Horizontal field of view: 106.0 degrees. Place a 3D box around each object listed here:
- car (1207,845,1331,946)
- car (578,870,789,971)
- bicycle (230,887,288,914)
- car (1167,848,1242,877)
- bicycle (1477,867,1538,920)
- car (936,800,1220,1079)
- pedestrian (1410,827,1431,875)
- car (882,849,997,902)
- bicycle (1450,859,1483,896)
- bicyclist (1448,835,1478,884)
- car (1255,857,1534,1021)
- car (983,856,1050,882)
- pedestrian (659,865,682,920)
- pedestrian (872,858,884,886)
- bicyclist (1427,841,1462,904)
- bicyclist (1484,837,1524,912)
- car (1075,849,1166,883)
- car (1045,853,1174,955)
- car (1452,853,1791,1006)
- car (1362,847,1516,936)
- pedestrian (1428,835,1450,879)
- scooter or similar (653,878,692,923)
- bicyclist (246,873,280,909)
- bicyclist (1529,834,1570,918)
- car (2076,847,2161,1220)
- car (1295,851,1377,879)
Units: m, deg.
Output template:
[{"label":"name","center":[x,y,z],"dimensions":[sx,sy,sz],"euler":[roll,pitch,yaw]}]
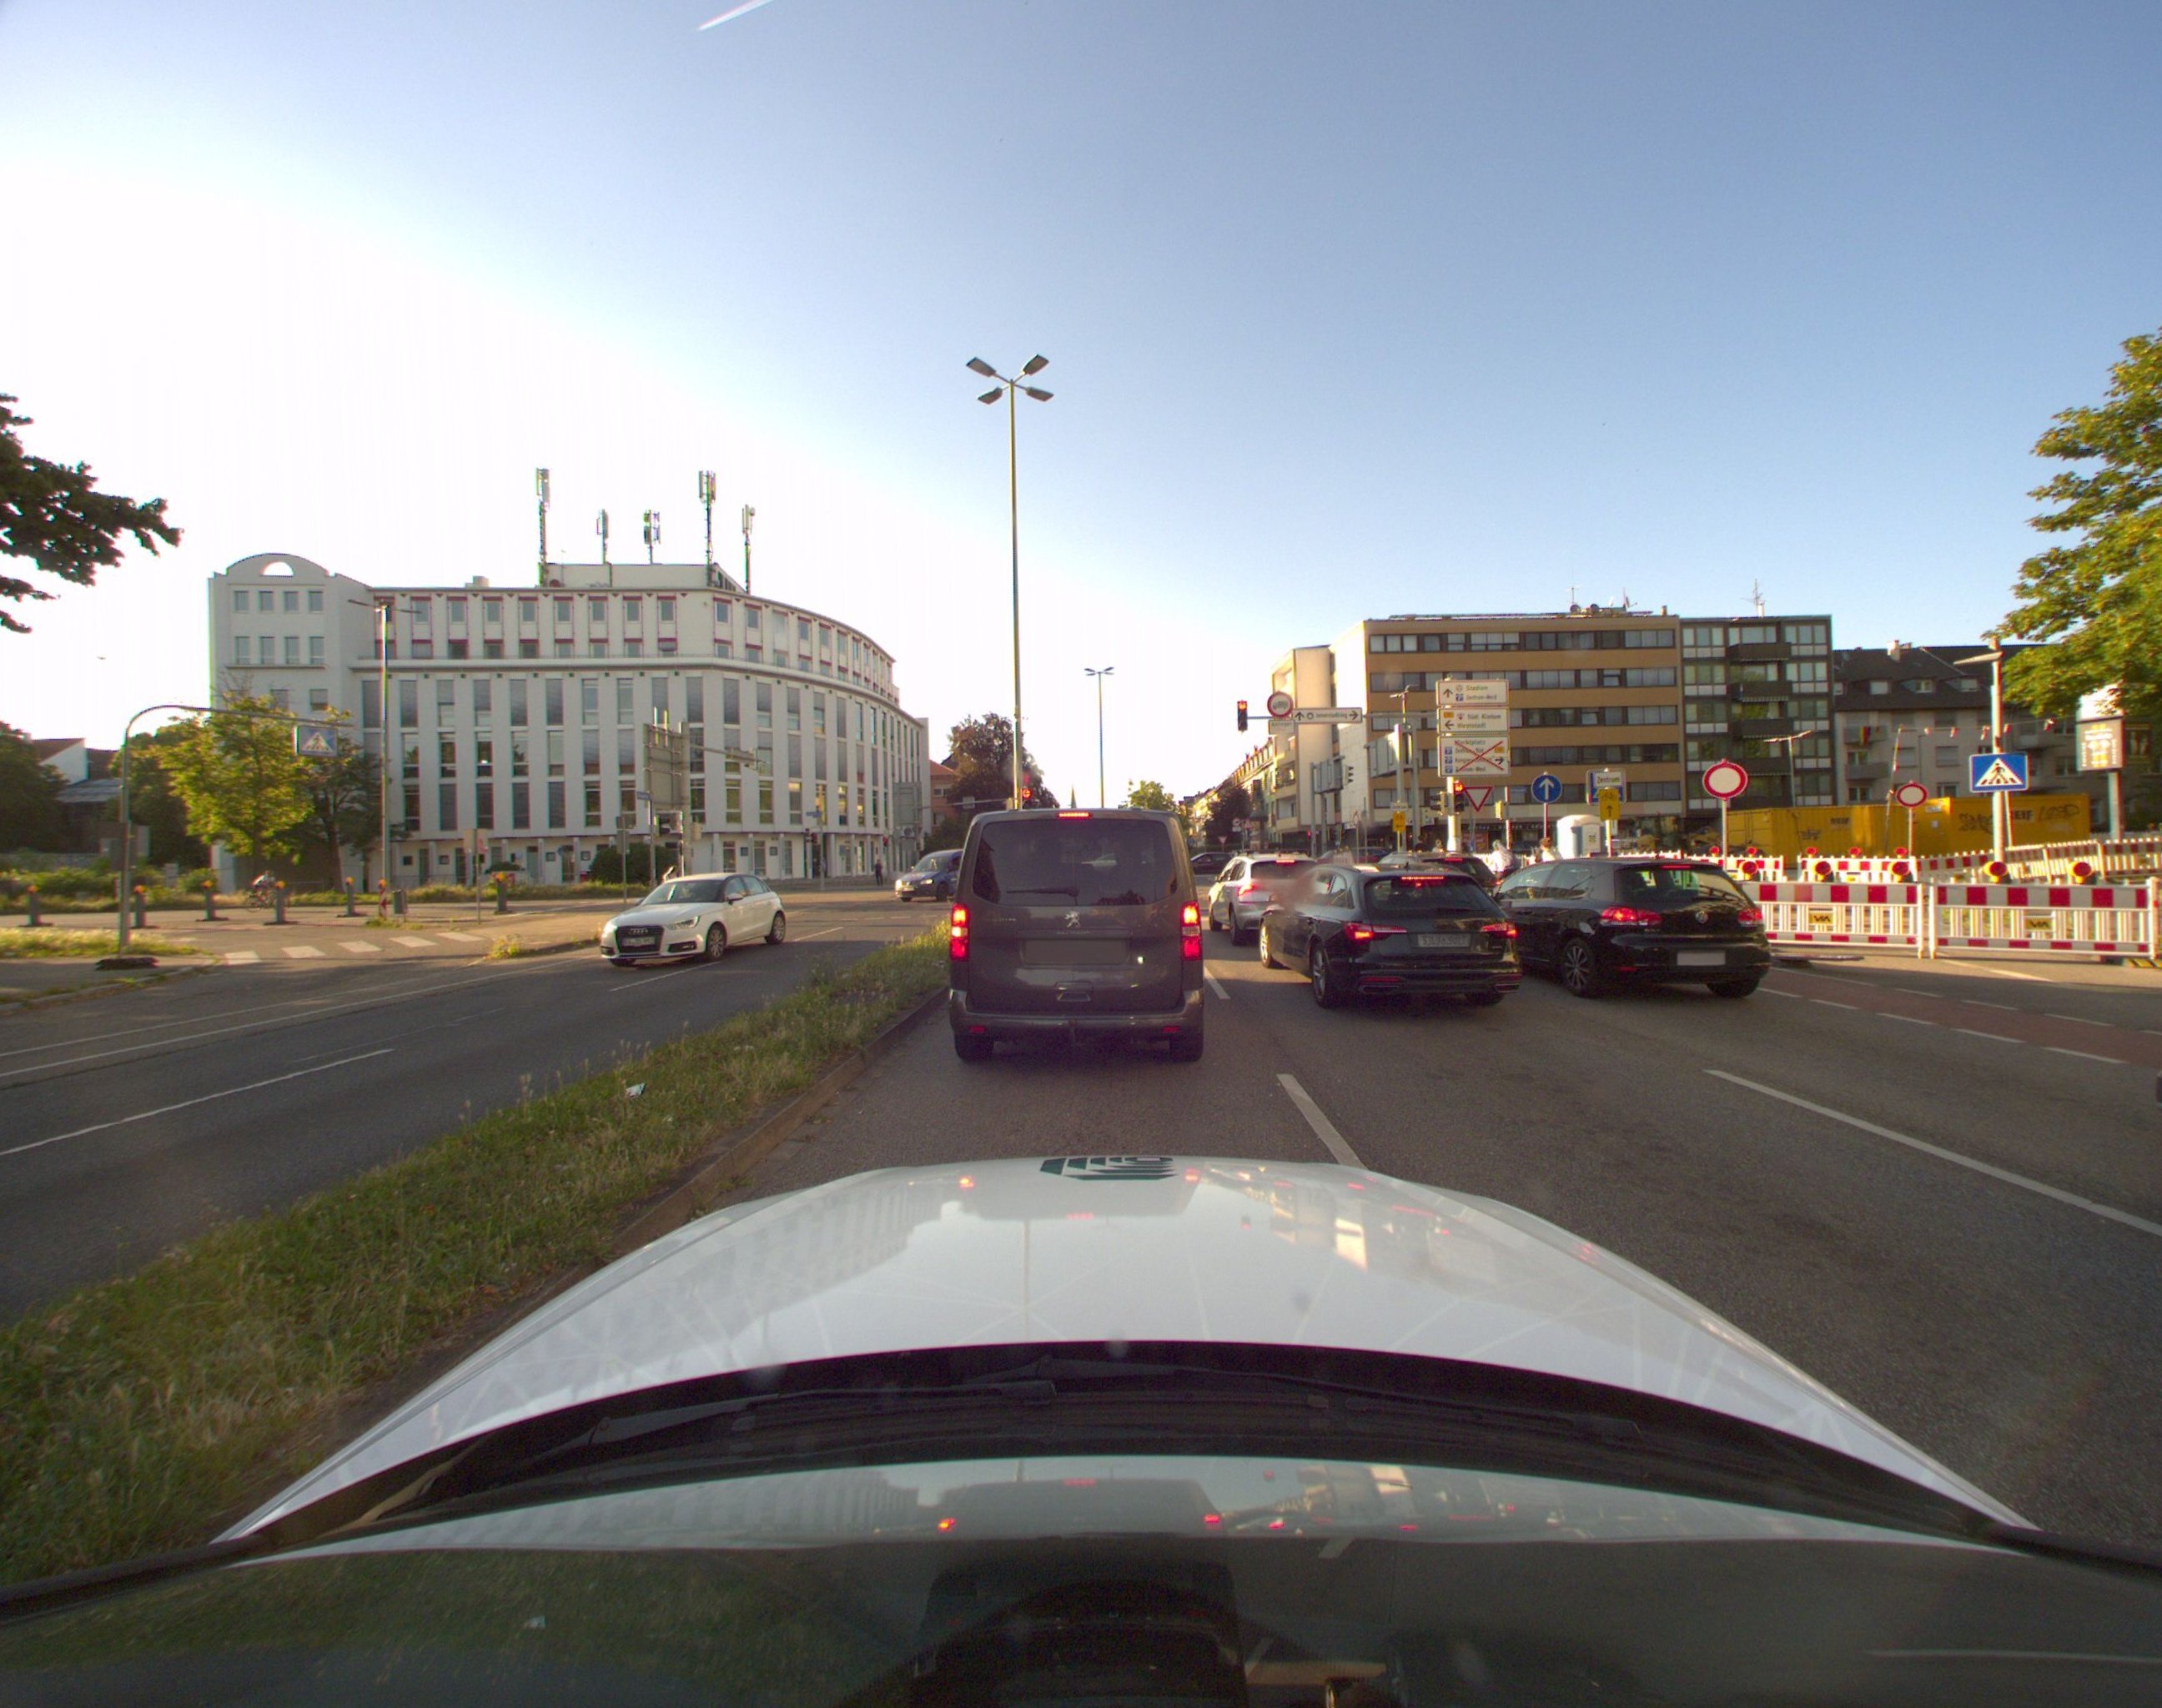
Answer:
[{"label":"car","center":[3.299,0.665,14.935],"dimensions":[1.523,1.613,3.746],"euler":[0,0,2]},{"label":"car","center":[-6.701,1.044,14.211],"dimensions":[1.685,1.387,3.688],"euler":[-3,0,2]},{"label":"bicycle","center":[-34.706,1.964,34.399],"dimensions":[1.795,1.042,0.502],"euler":[-2,0,-5]},{"label":"car","center":[7.362,0.487,48.795],"dimensions":[4.109,1.594,1.793],"euler":[-2,-1,-4]},{"label":"bicycle","center":[8.916,0.807,17.109],"dimensions":[0.335,1.008,1.856],"euler":[-2,0,2]},{"label":"car","center":[0.051,0.577,7.728],"dimensions":[1.900,1.863,4.528],"euler":[0,0,2]},{"label":"pedestrian","center":[13.105,-0.116,31.418],"dimensions":[0.567,1.834,0.488],"euler":[-2,0,4]},{"label":"car","center":[-5.207,0.762,30.504],"dimensions":[1.974,1.817,4.256],"euler":[-2,0,29]},{"label":"bicycle","center":[12.841,0.780,27.175],"dimensions":[0.371,1.161,1.499],"euler":[0,1,-2]},{"label":"bicyclist","center":[12.804,0.174,27.280],"dimensions":[0.616,1.589,0.814],"euler":[0,0,-2]},{"label":"car","center":[3.204,0.756,9.277],"dimensions":[1.675,1.421,4.215],"euler":[0,0,2]},{"label":"car","center":[-3.751,0.870,47.356],"dimensions":[3.774,1.372,1.648],"euler":[-2,0,-4]},{"label":"pedestrian","center":[-11.576,1.084,22.985],"dimensions":[0.474,1.505,0.334],"euler":[-2,0,-10]},{"label":"pedestrian","center":[-12.816,1.147,51.376],"dimensions":[0.626,1.722,0.668],"euler":[-2,0,-12]},{"label":"bicyclist","center":[8.981,0.456,20.129],"dimensions":[0.511,1.525,0.725],"euler":[-2,0,1]},{"label":"bicyclist","center":[8.915,0.422,17.193],"dimensions":[0.439,1.525,0.725],"euler":[-2,0,2]},{"label":"car","center":[1.900,0.557,38.298],"dimensions":[4.264,1.441,1.683],"euler":[-2,0,-40]},{"label":"car","center":[0.507,0.784,14.743],"dimensions":[1.986,1.530,4.002],"euler":[-2,0,2]},{"label":"car","center":[6.006,0.722,9.645],"dimensions":[1.627,1.449,3.746],"euler":[0,0,2]},{"label":"car","center":[6.588,0.635,15.341],"dimensions":[1.499,1.449,3.306],"euler":[-2,0,2]},{"label":"pedestrian","center":[13.896,0.110,31.636],"dimensions":[0.599,1.671,0.455],"euler":[-2,0,3]},{"label":"scooter or similar","center":[-11.489,1.302,22.916],"dimensions":[0.893,1.234,0.370],"euler":[-2,0,-10]},{"label":"bicyclist","center":[-34.563,1.554,34.424],"dimensions":[0.884,1.496,0.457],"euler":[-2,0,-5]},{"label":"bicyclist","center":[8.647,0.398,15.040],"dimensions":[0.439,1.525,0.482],"euler":[-2,0,1]},{"label":"car","center":[5.119,0.686,1.113],"dimensions":[1.809,1.449,4.665],"euler":[-1,0,-1]},{"label":"car","center":[13.952,0.583,44.670],"dimensions":[3.986,1.418,1.676],"euler":[-2,0,-9]}]
